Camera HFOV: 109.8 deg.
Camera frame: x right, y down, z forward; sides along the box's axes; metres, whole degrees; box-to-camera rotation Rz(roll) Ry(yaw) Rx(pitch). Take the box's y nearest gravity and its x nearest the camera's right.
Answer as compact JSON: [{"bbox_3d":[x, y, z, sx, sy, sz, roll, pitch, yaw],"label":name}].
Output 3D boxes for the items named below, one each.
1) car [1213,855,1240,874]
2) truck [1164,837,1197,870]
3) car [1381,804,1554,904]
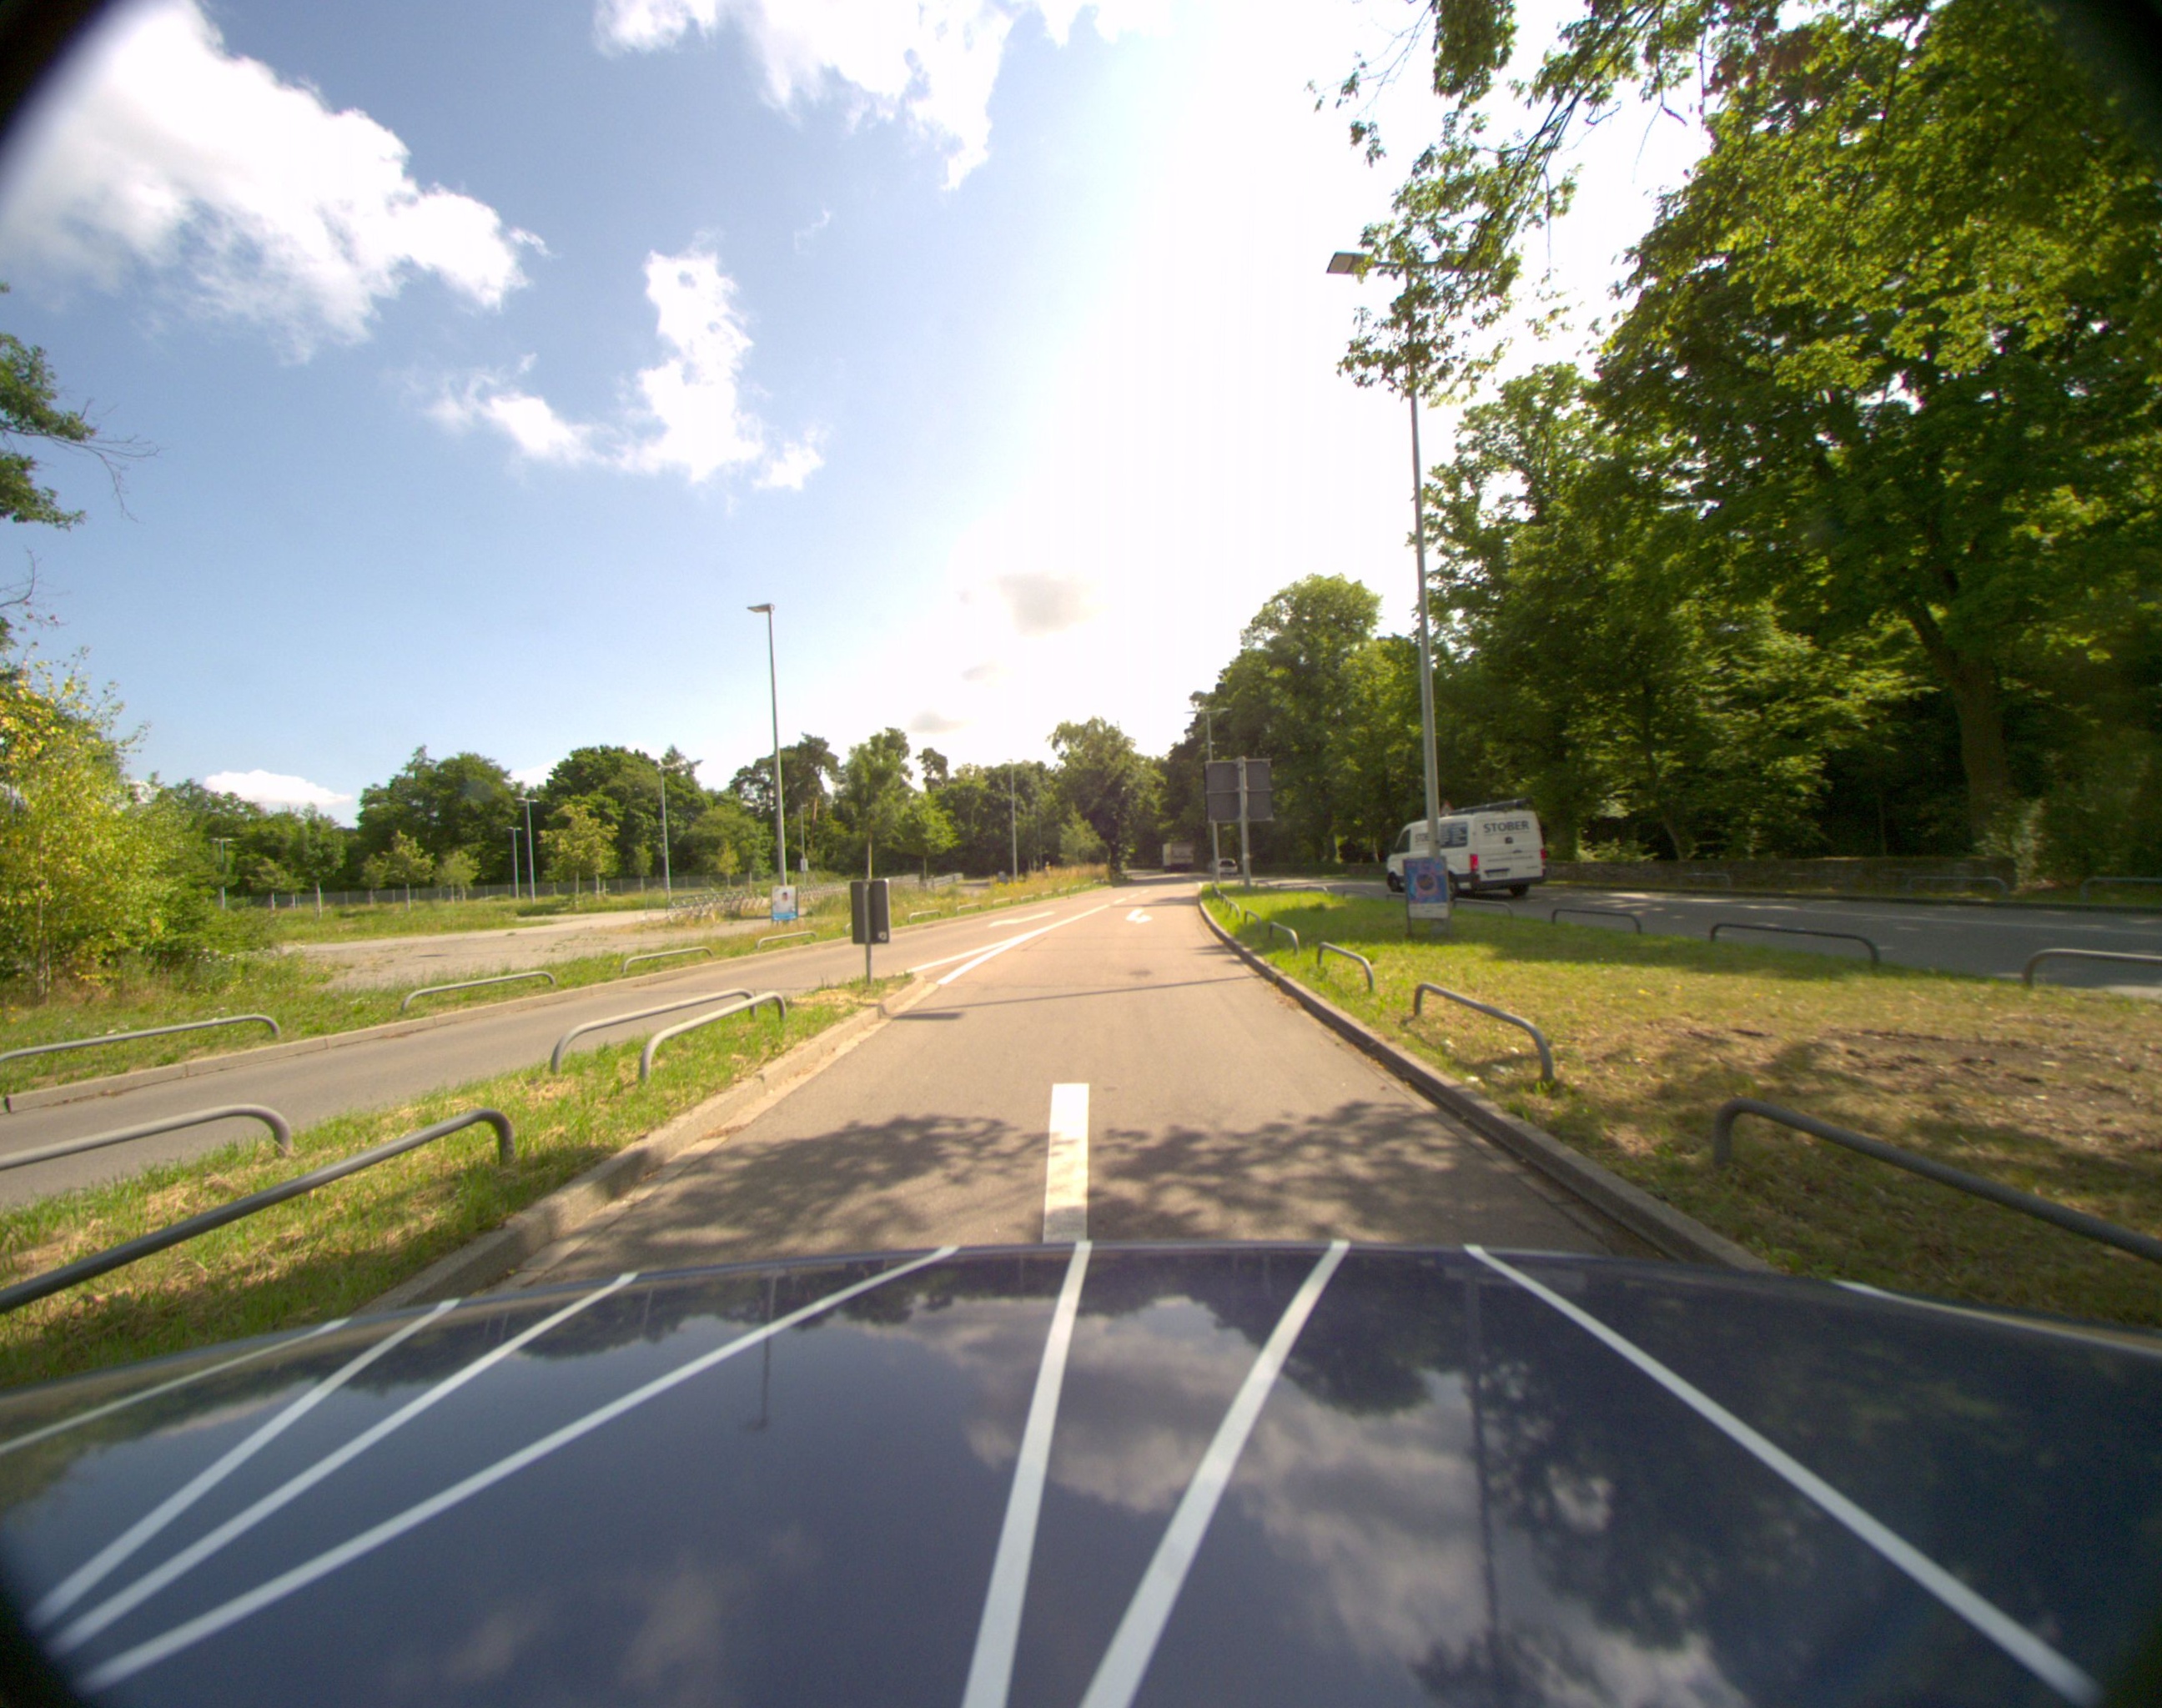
[{"bbox_3d":[12.464,0.887,65.335,1.655,1.461,3.871,-2,1,3],"label":"car"},{"bbox_3d":[11.643,-0.071,89.546,2.914,3.609,7.004,-2,1,1],"label":"truck"},{"bbox_3d":[10.913,-0.018,22.030,1.980,2.417,5.361,-4,1,-2],"label":"car"}]
